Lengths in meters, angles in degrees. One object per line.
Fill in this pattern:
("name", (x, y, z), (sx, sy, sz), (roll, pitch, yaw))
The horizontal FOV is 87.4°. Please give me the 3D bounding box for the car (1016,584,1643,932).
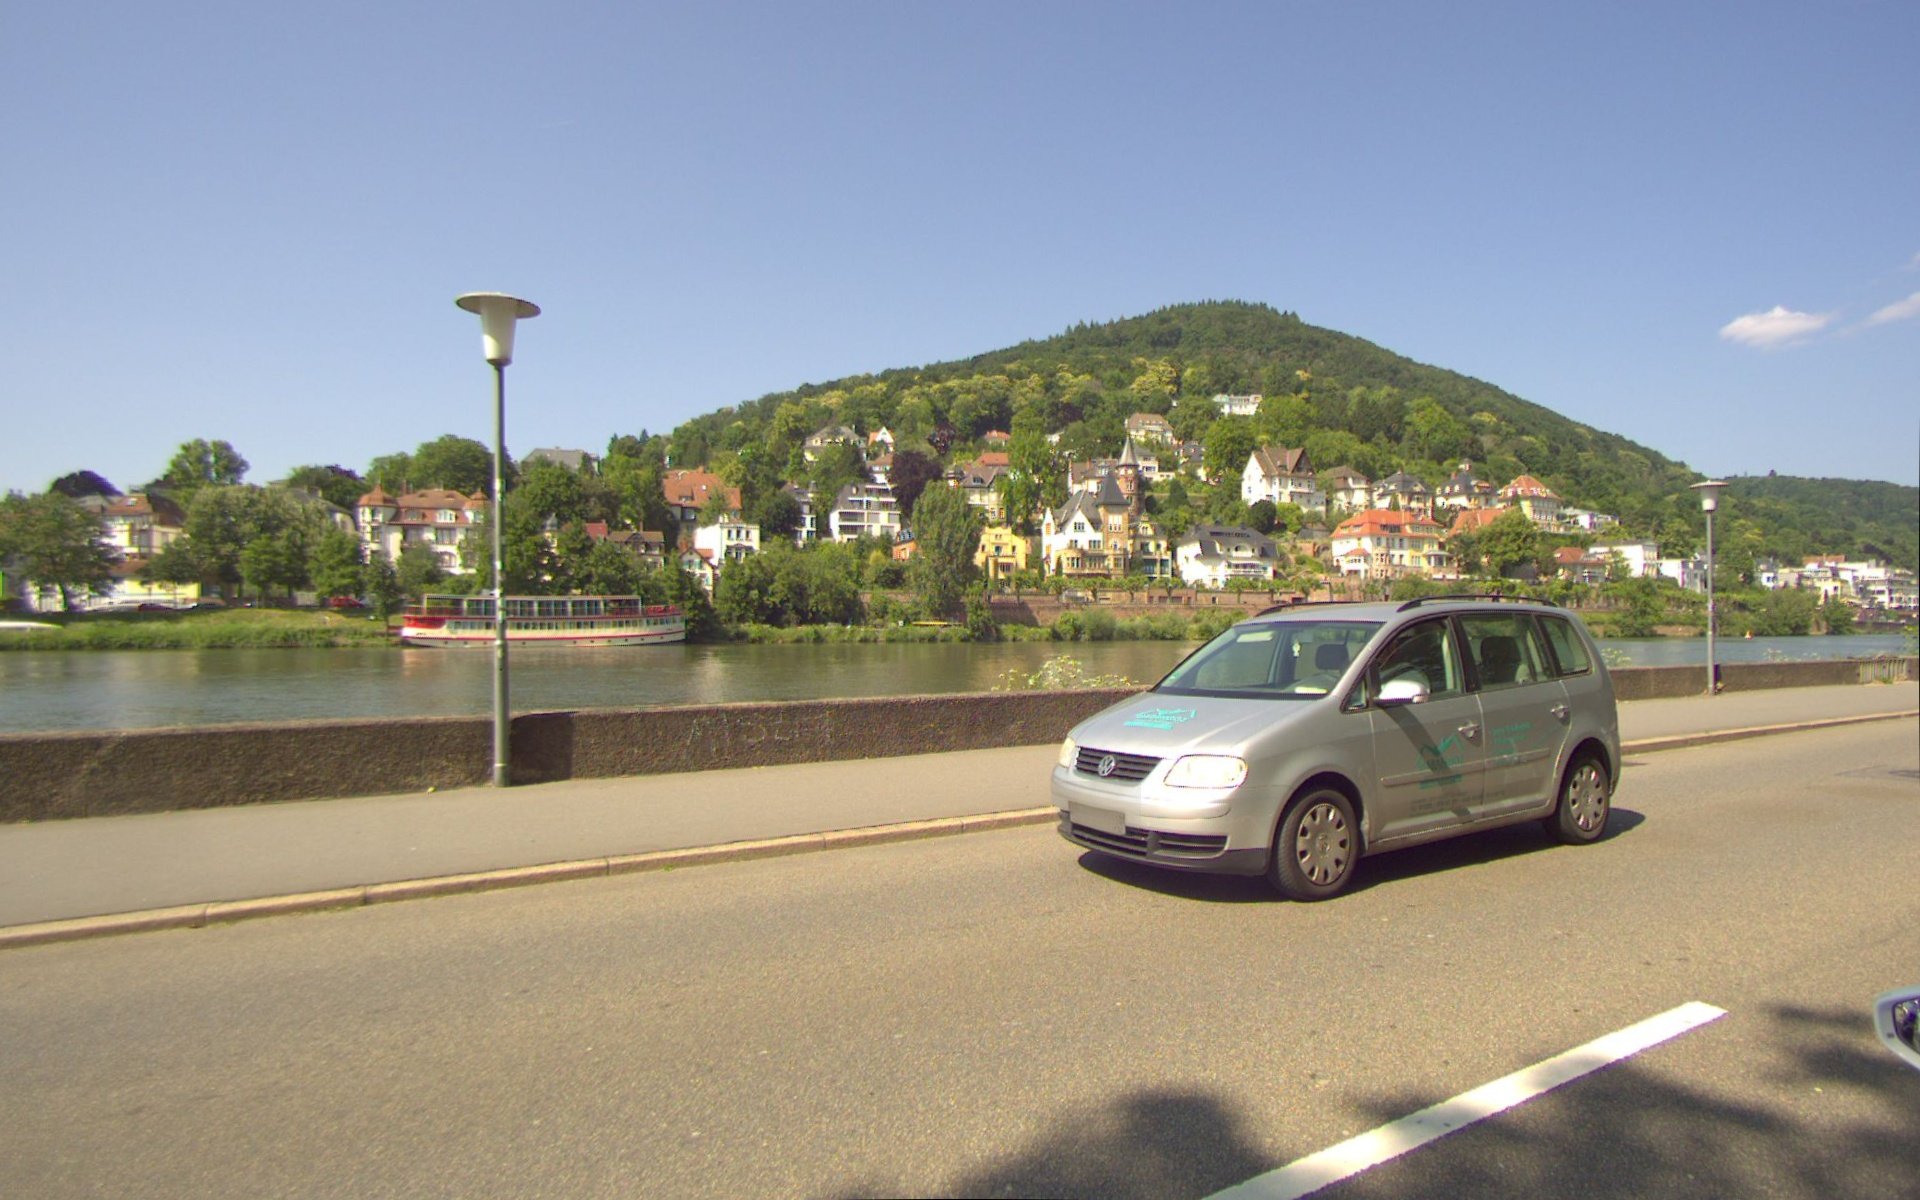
("car", (2.555, 0.815, 6.673), (4.130, 1.671, 1.723), (1, -3, -32))
